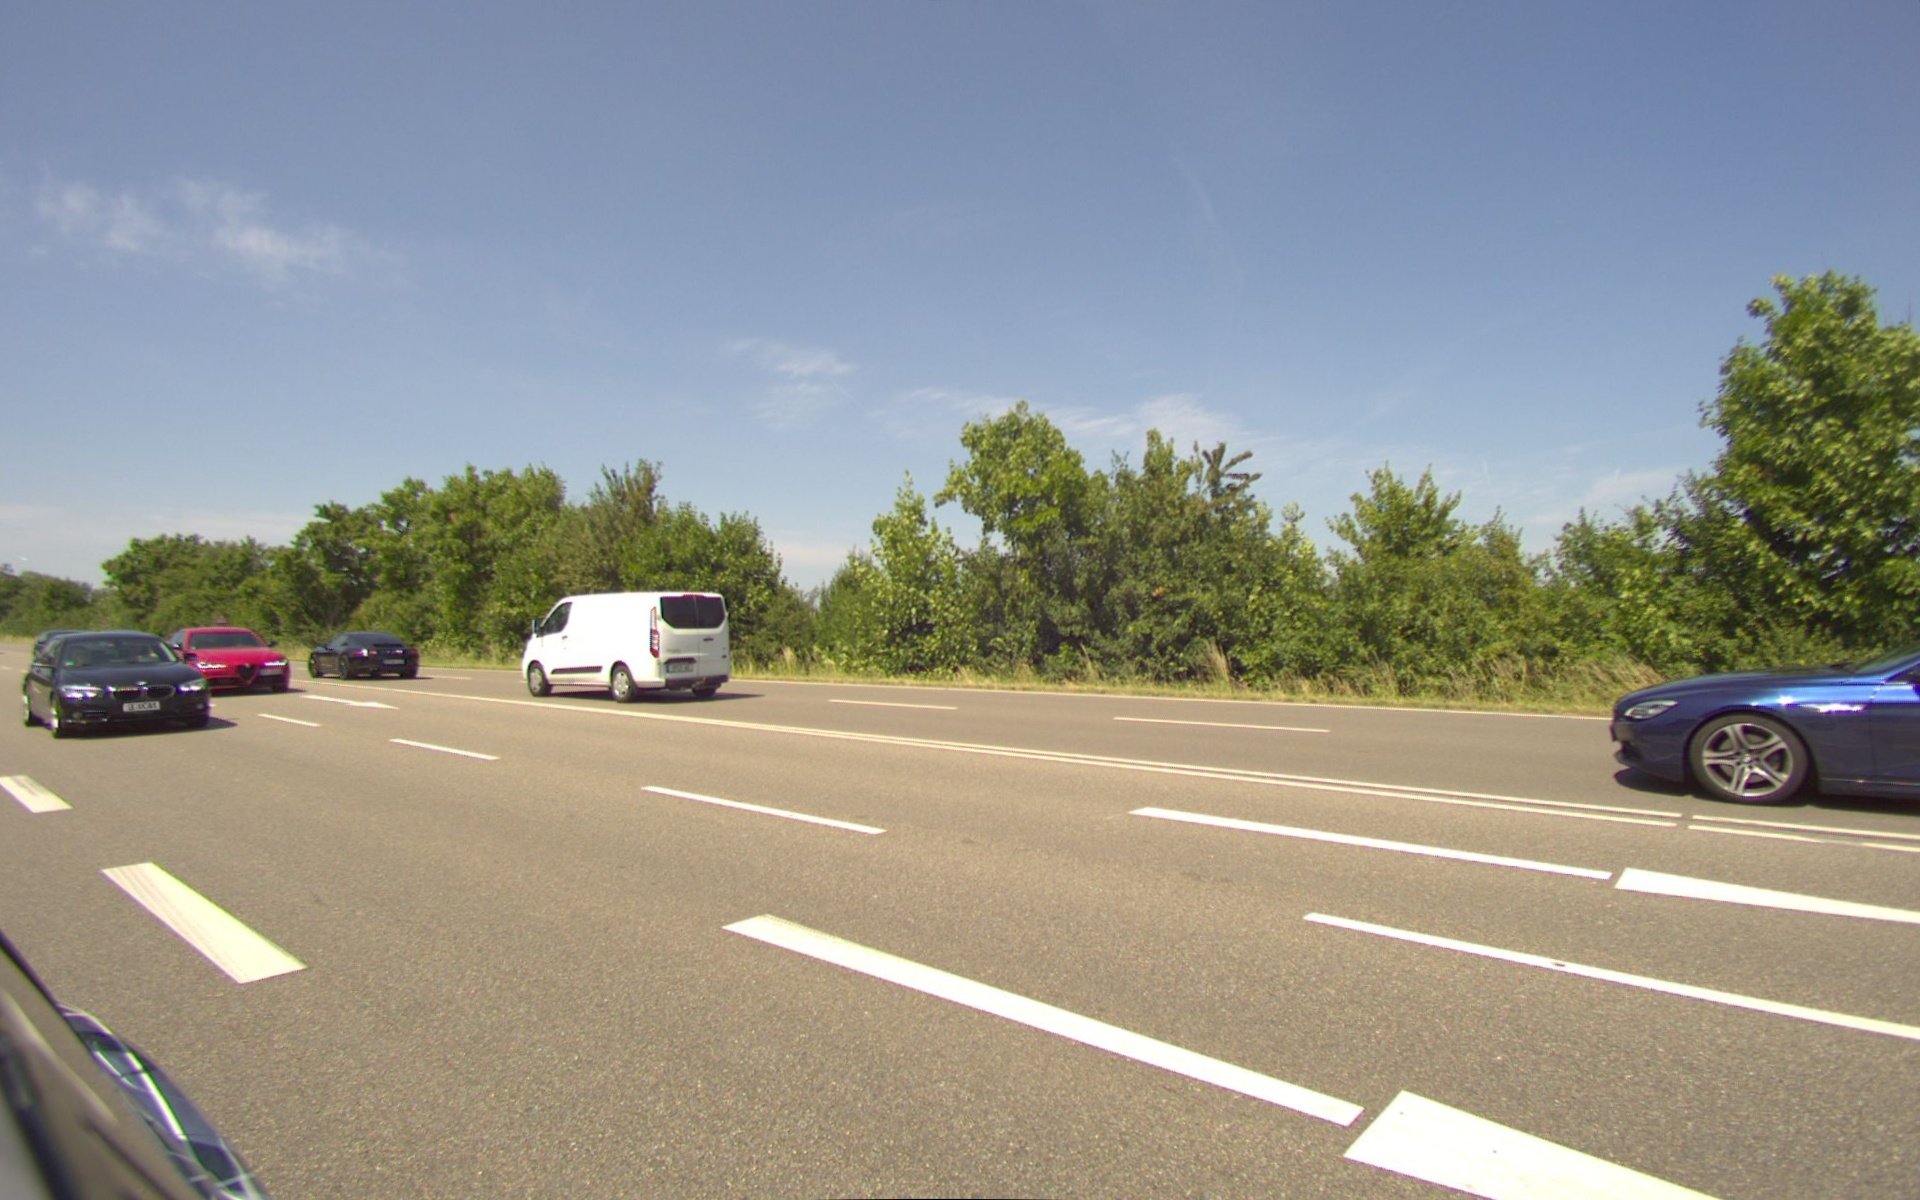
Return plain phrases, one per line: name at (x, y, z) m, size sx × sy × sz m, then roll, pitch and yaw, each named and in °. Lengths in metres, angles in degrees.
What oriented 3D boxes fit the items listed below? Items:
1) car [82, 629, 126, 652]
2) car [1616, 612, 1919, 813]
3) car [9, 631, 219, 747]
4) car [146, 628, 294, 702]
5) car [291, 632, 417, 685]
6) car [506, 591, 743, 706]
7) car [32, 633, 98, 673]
car at (-61.558, 2.860, 72.744) m, size 4.526 × 1.547 × 1.868 m, roll -2°, pitch -1°, yaw 43°
car at (7.364, 0.722, 6.779) m, size 4.763 × 1.289 × 1.786 m, roll -2°, pitch -1°, yaw 41°
car at (-12.765, 1.238, 15.178) m, size 4.378 × 1.441 × 1.765 m, roll -2°, pitch -1°, yaw 41°
car at (-16.572, 1.409, 22.575) m, size 4.564 × 1.432 × 1.731 m, roll -2°, pitch -1°, yaw 42°
car at (-17.066, 1.592, 28.399) m, size 4.850 × 1.344 × 1.535 m, roll -2°, pitch -2°, yaw 40°
car at (-6.522, 0.908, 19.388) m, size 5.045 × 1.932 × 1.887 m, roll -2°, pitch -3°, yaw 39°
car at (-35.710, 2.074, 40.342) m, size 4.468 × 1.422 × 1.656 m, roll -2°, pitch -1°, yaw 44°
